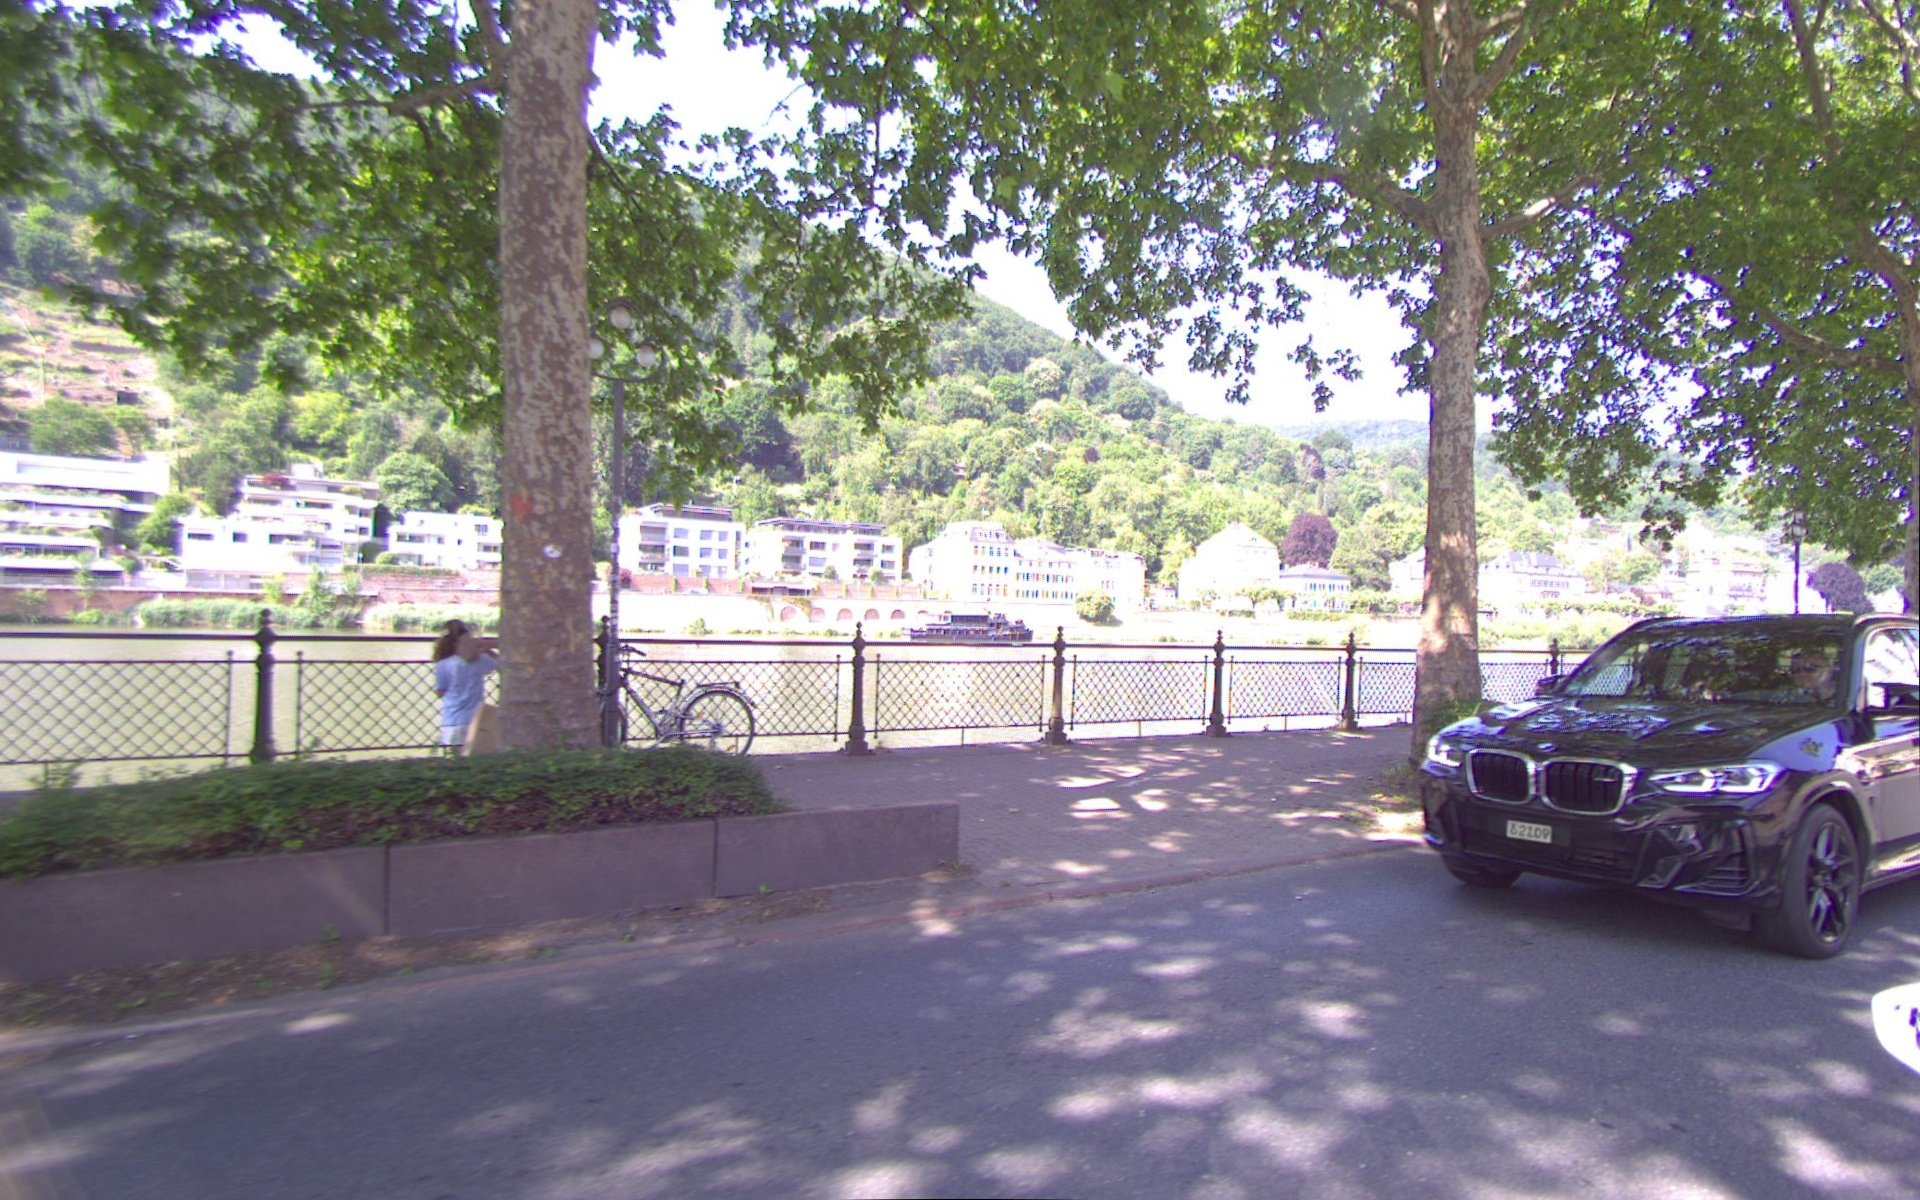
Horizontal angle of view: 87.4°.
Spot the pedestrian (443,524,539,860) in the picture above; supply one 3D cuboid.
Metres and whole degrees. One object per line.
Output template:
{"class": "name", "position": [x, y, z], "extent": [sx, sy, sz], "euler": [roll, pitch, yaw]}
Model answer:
{"class": "pedestrian", "position": [-2.828, 0.523, 6.043], "extent": [0.431, 1.912, 0.532], "euler": [2, 0, -29]}

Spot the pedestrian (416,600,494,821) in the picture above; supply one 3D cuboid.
{"class": "pedestrian", "position": [-3.315, 0.703, 6.615], "extent": [0.411, 1.381, 0.477], "euler": [2, 1, -25]}

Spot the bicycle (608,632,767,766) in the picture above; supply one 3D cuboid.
{"class": "bicycle", "position": [-2.409, 0.858, 8.928], "extent": [1.281, 1.106, 0.357], "euler": [2, 3, -31]}

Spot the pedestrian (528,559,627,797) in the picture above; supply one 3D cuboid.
{"class": "pedestrian", "position": [-2.906, 0.566, 7.611], "extent": [0.576, 1.708, 0.598], "euler": [2, 0, -31]}

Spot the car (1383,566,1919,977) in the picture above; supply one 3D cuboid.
{"class": "car", "position": [4.844, 0.862, 6.192], "extent": [4.369, 1.747, 1.805], "euler": [2, -6, -30]}
